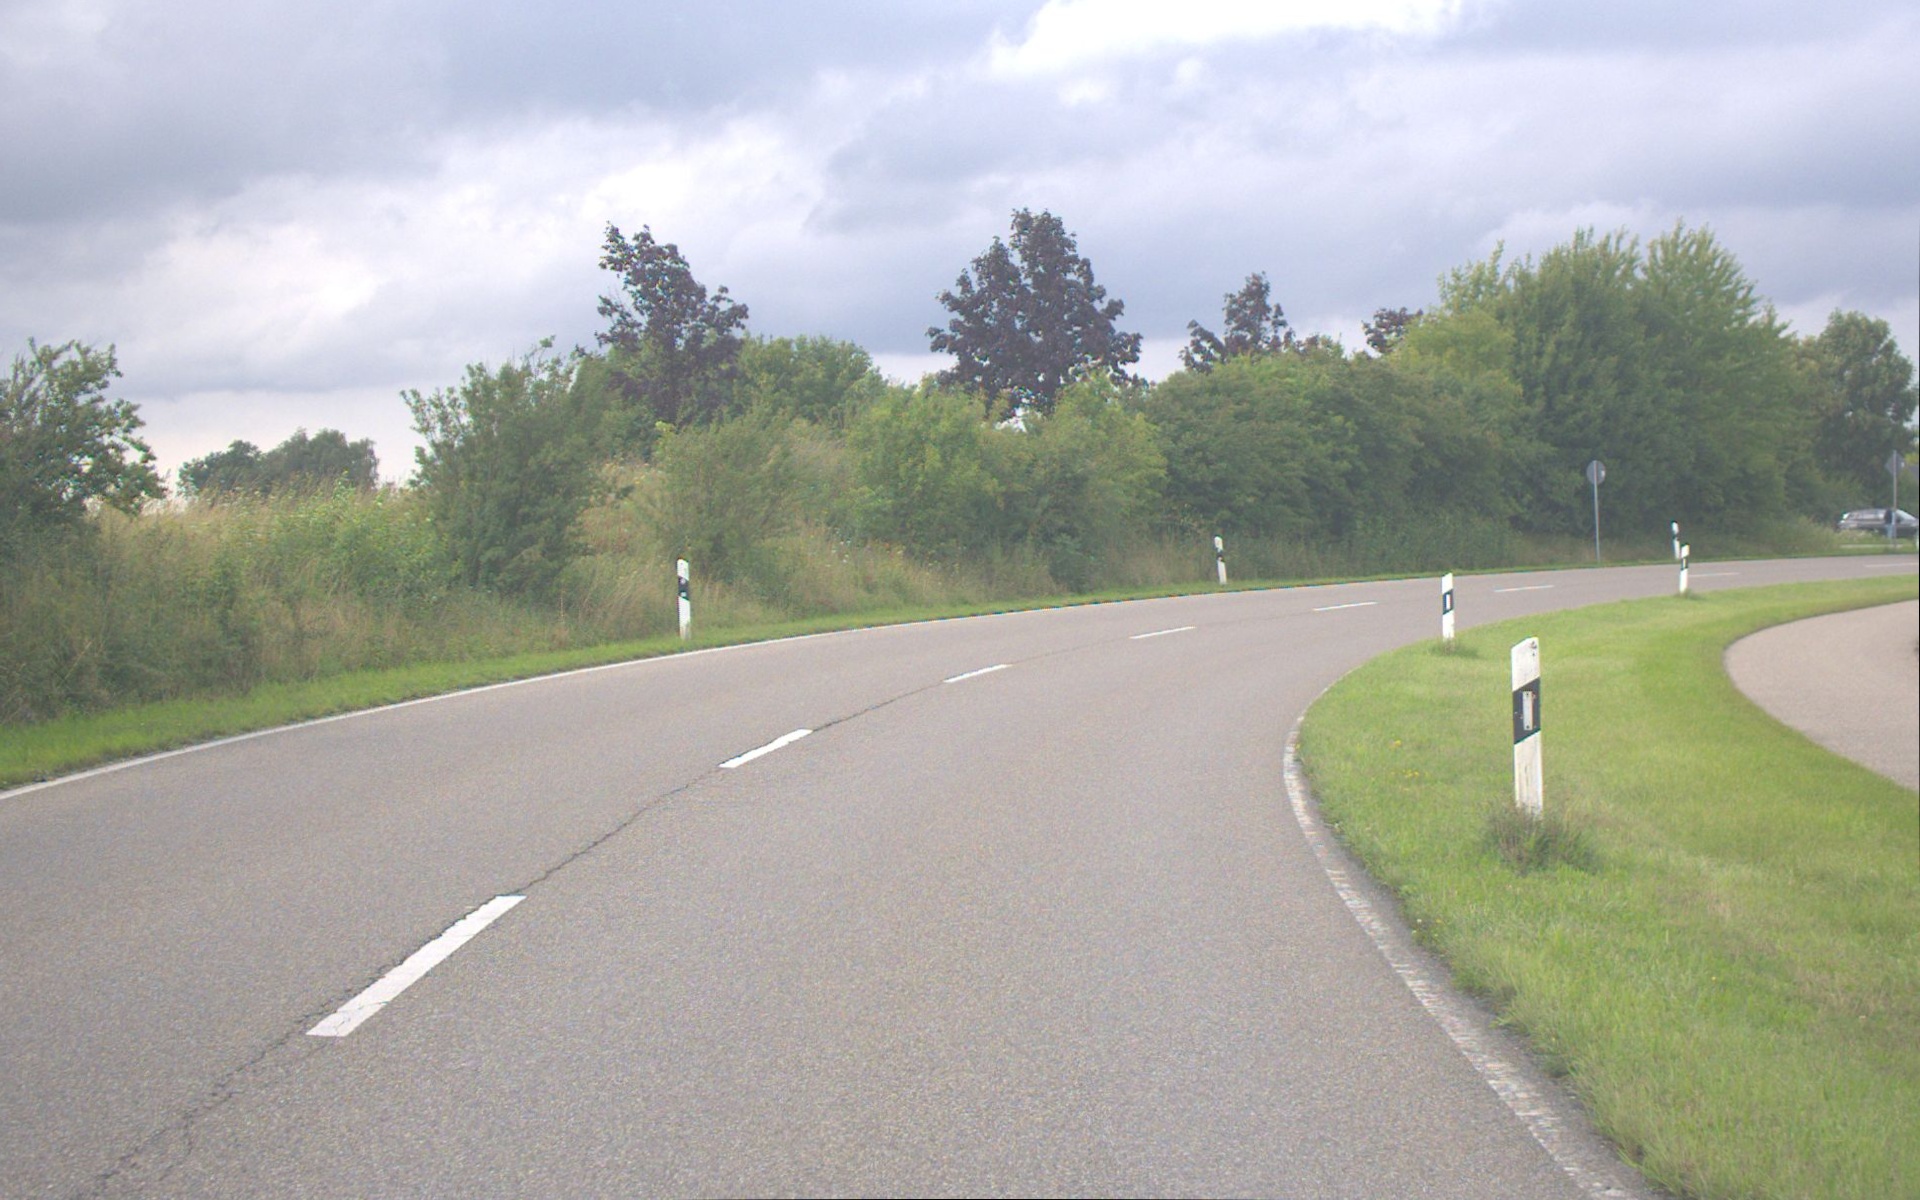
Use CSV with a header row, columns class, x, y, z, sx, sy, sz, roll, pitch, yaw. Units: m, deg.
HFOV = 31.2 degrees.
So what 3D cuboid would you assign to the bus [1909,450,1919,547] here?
class,x,y,z,sx,sy,sz,roll,pitch,yaw
bus,30.420,-2.908,98.609,2.481,2.702,8.409,1,2,44
